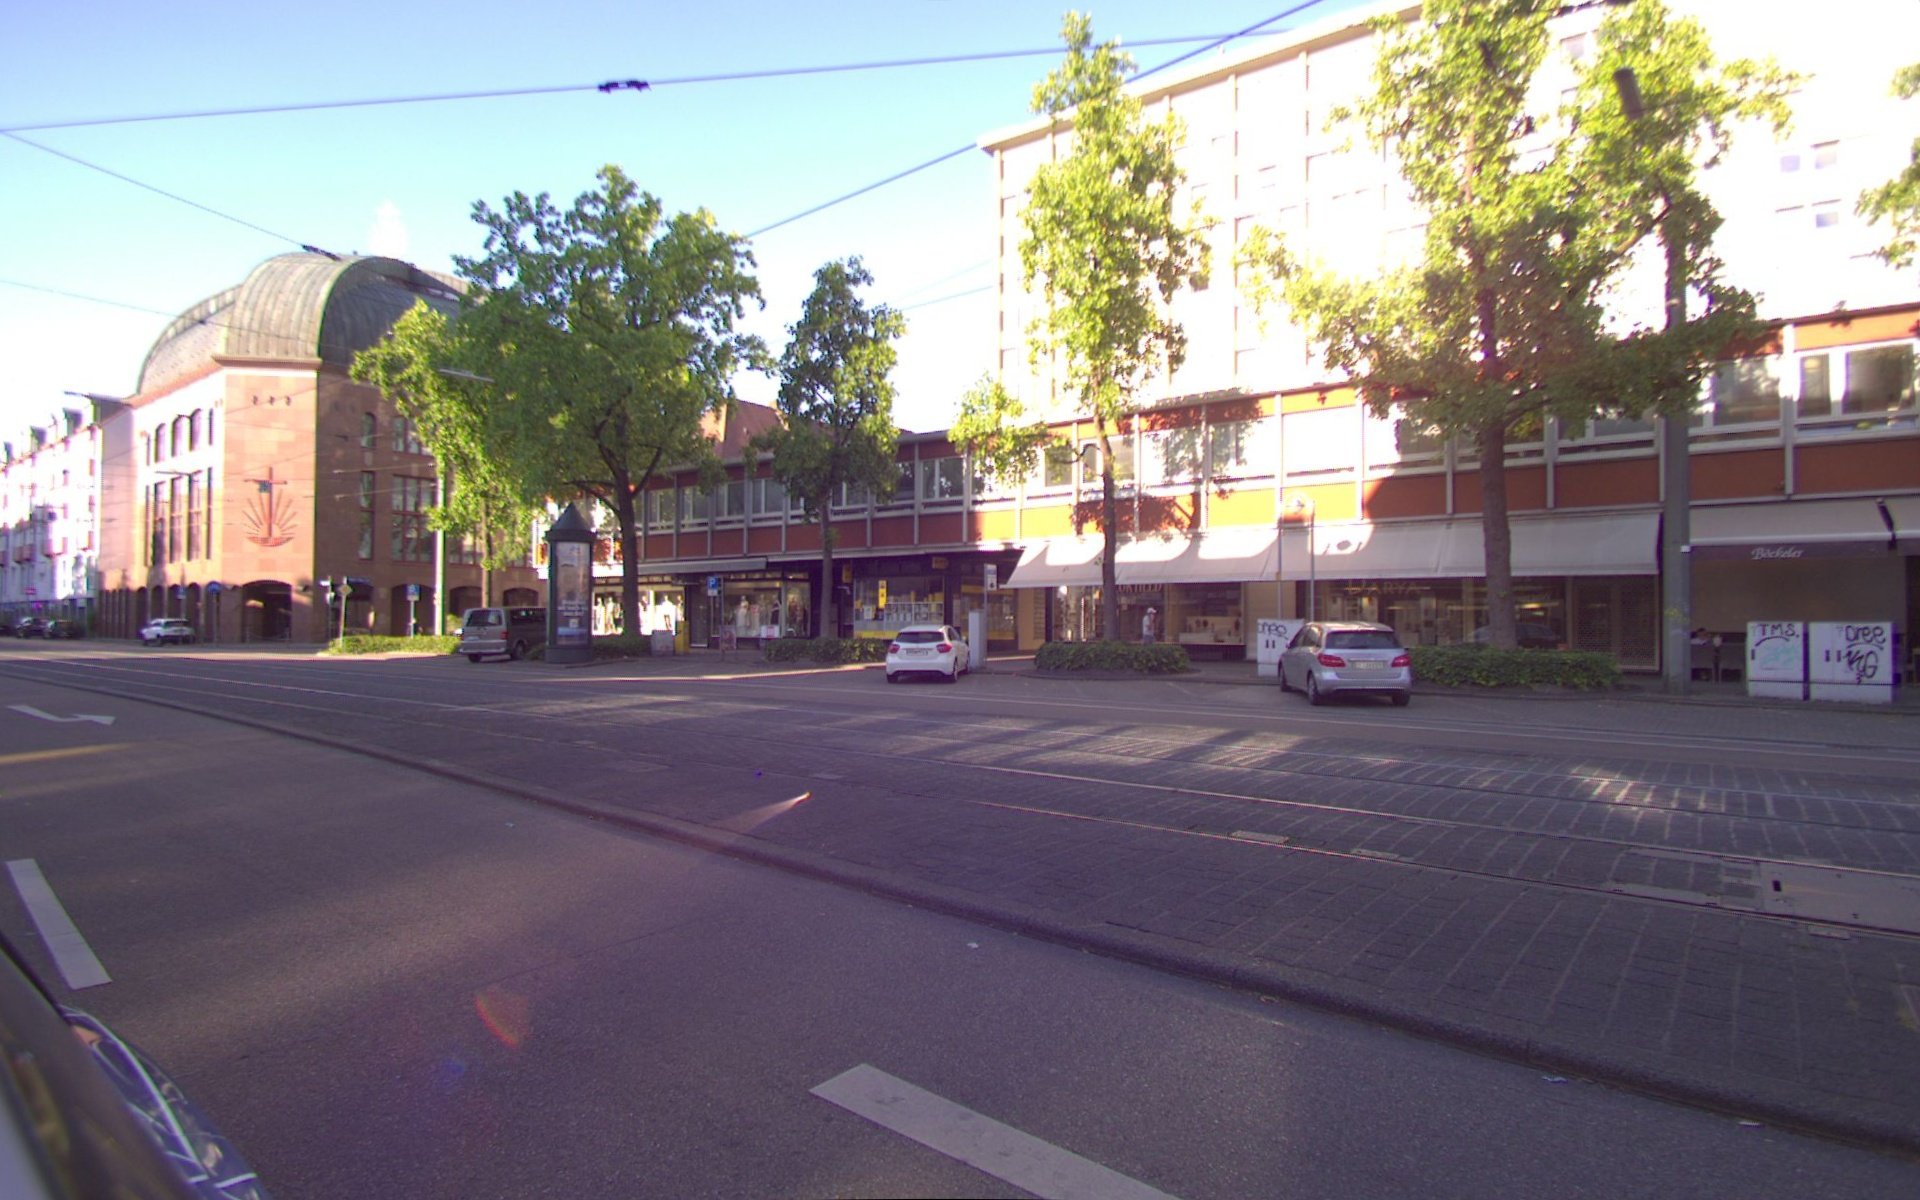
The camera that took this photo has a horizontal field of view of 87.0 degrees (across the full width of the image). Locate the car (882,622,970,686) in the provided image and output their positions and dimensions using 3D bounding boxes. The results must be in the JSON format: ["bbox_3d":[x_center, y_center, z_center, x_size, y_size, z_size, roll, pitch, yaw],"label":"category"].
[{"bbox_3d":[-0.818,1.360,26.697,1.776,1.486,3.992,0,0,6],"label":"car"}]

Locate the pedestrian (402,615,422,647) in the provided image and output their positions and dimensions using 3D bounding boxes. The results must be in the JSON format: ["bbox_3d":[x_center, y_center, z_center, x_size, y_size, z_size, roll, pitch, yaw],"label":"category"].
[{"bbox_3d":[-29.867,1.691,55.194,0.548,1.761,0.780,-1,-2,41],"label":"pedestrian"}]

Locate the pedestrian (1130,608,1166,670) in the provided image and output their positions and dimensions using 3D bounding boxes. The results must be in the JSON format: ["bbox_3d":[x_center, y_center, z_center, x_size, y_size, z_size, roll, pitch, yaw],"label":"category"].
[{"bbox_3d":[5.436,1.118,29.279,0.626,1.782,0.770,2,-1,-36],"label":"pedestrian"}]

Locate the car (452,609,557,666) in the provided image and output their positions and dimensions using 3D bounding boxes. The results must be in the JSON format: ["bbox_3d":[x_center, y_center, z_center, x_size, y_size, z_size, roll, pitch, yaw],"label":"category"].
[{"bbox_3d":[-16.560,1.320,37.011,1.886,1.979,3.996,0,0,3],"label":"car"}]

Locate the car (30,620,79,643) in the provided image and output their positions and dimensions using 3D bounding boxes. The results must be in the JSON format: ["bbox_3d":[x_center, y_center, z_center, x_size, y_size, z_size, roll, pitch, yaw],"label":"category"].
[{"bbox_3d":[-68.183,2.369,76.200,3.992,1.615,1.942,-1,-1,36],"label":"car"}]

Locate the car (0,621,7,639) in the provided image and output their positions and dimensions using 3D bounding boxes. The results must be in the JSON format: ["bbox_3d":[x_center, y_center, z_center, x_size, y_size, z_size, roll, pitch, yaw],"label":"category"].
[{"bbox_3d":[-88.339,2.712,91.912,3.992,1.615,1.942,-1,-1,36],"label":"car"}]

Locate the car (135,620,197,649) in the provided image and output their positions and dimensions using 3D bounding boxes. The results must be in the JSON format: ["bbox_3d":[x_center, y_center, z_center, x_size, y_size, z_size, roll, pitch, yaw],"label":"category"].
[{"bbox_3d":[-46.903,2.030,59.743,3.992,1.615,1.888,-1,-1,36],"label":"car"}]

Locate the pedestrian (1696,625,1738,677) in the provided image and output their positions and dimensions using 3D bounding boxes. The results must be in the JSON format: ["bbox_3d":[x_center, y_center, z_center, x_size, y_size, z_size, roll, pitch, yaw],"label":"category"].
[{"bbox_3d":[17.429,1.160,23.303,0.726,1.181,0.770,-1,-2,35],"label":"pedestrian"}]

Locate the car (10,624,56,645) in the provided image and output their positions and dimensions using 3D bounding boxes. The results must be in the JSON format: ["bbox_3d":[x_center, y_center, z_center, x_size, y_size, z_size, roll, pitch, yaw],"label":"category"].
[{"bbox_3d":[-73.418,2.714,80.146,3.992,1.615,1.942,-1,-1,36],"label":"car"}]

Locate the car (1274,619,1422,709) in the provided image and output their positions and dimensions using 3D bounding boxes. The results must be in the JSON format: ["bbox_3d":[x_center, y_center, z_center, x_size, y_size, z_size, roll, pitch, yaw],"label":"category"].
[{"bbox_3d":[7.598,1.187,20.203,1.776,1.566,3.992,0,0,6],"label":"car"}]

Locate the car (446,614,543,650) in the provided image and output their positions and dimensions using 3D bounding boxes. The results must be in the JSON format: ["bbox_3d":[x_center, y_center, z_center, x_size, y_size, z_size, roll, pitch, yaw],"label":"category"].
[{"bbox_3d":[-27.582,1.874,60.098,1.996,2.029,4.926,-1,-2,36],"label":"car"}]
